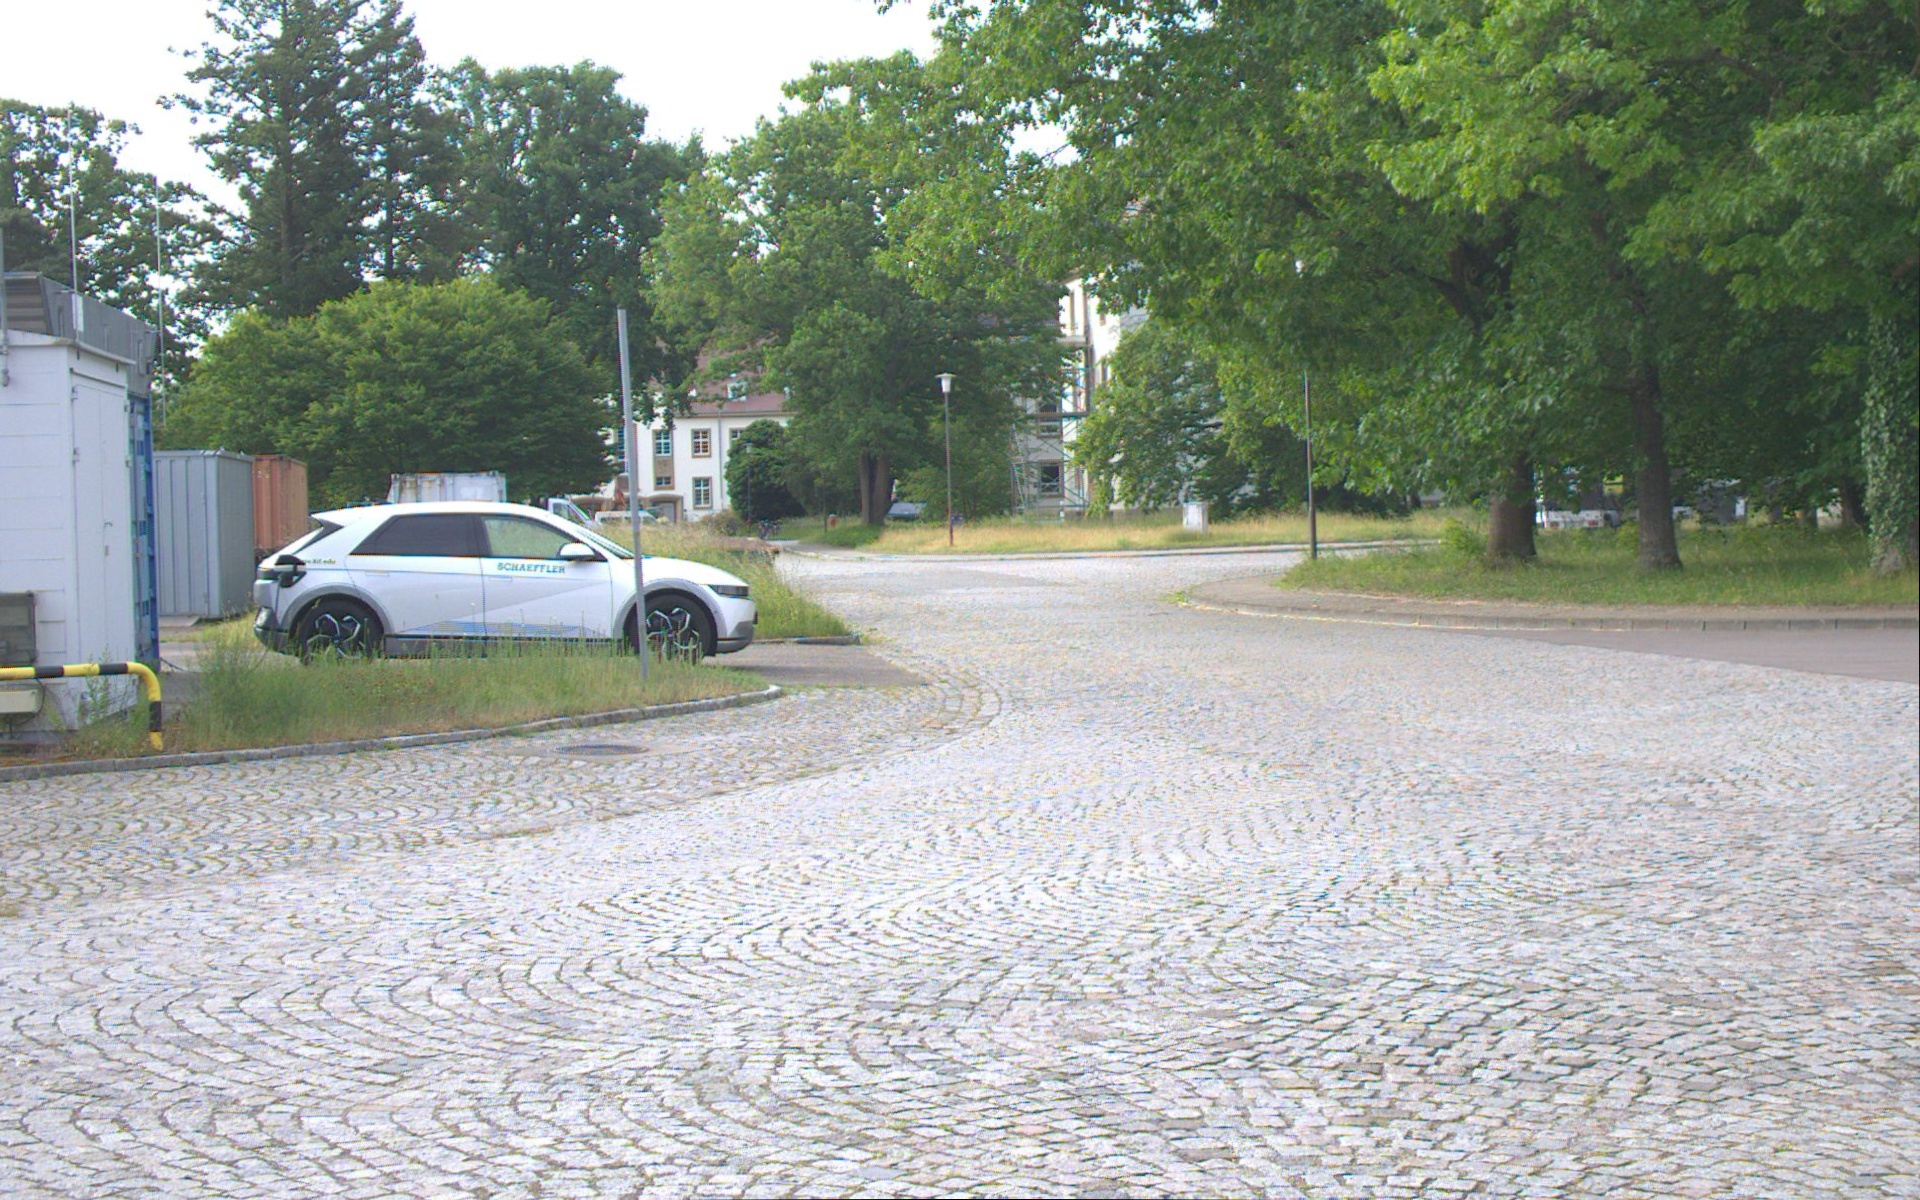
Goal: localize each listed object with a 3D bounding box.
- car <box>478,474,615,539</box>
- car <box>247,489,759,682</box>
[{"bbox_3d":[-15.978,-3.600,132.860,5.169,2.329,2.001,-2,2,-7],"label":"car"},{"bbox_3d":[-4.173,-0.157,31.980,4.533,1.594,2.000,-2,2,-4],"label":"car"}]
